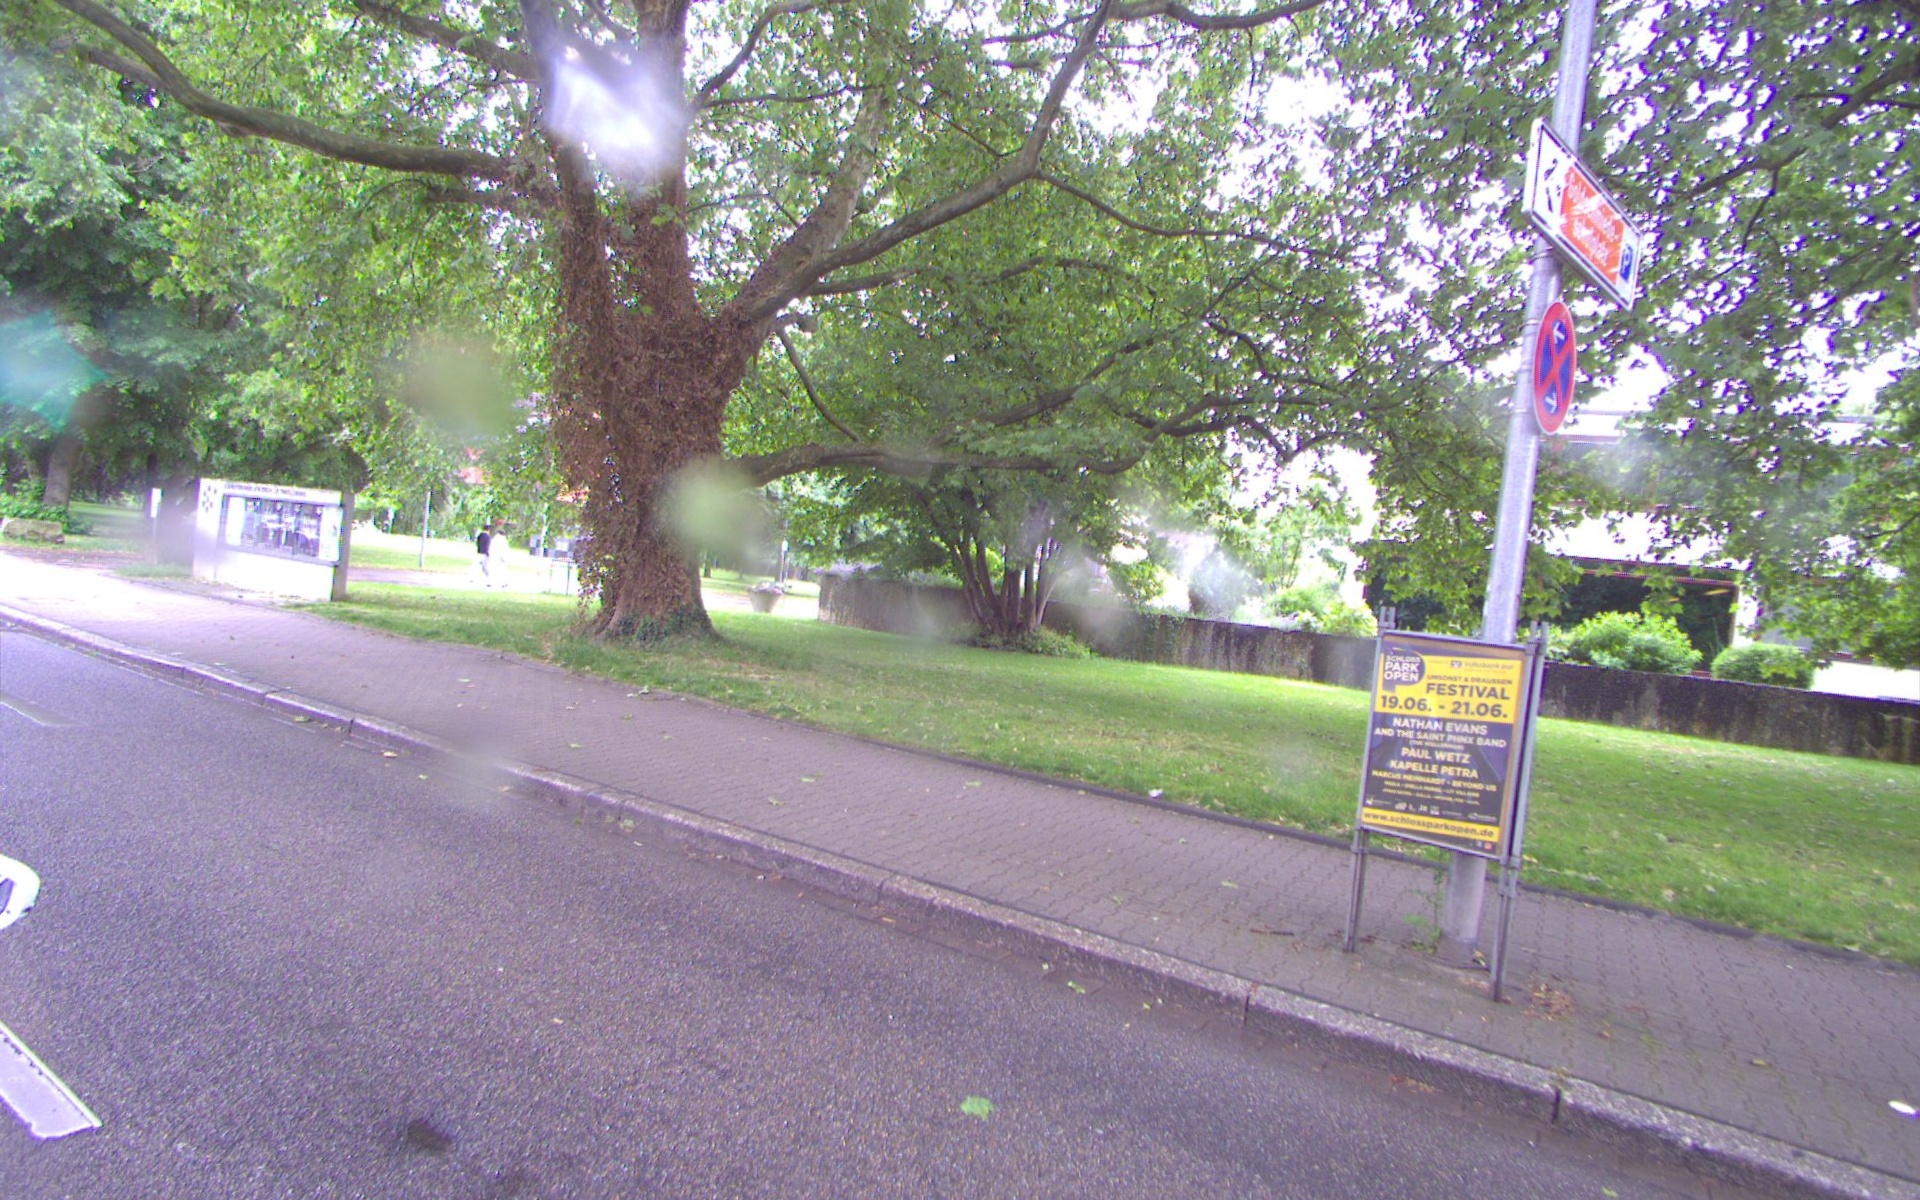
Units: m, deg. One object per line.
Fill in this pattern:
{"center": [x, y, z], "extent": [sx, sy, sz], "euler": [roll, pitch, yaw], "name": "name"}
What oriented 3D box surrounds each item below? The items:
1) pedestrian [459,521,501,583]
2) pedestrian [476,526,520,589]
{"center": [-14.645, -1.454, 30.710], "extent": [0.711, 1.776, 0.666], "euler": [7, -1, 23], "name": "pedestrian"}
{"center": [-13.695, -1.265, 29.837], "extent": [0.776, 1.732, 0.666], "euler": [7, -1, 23], "name": "pedestrian"}
